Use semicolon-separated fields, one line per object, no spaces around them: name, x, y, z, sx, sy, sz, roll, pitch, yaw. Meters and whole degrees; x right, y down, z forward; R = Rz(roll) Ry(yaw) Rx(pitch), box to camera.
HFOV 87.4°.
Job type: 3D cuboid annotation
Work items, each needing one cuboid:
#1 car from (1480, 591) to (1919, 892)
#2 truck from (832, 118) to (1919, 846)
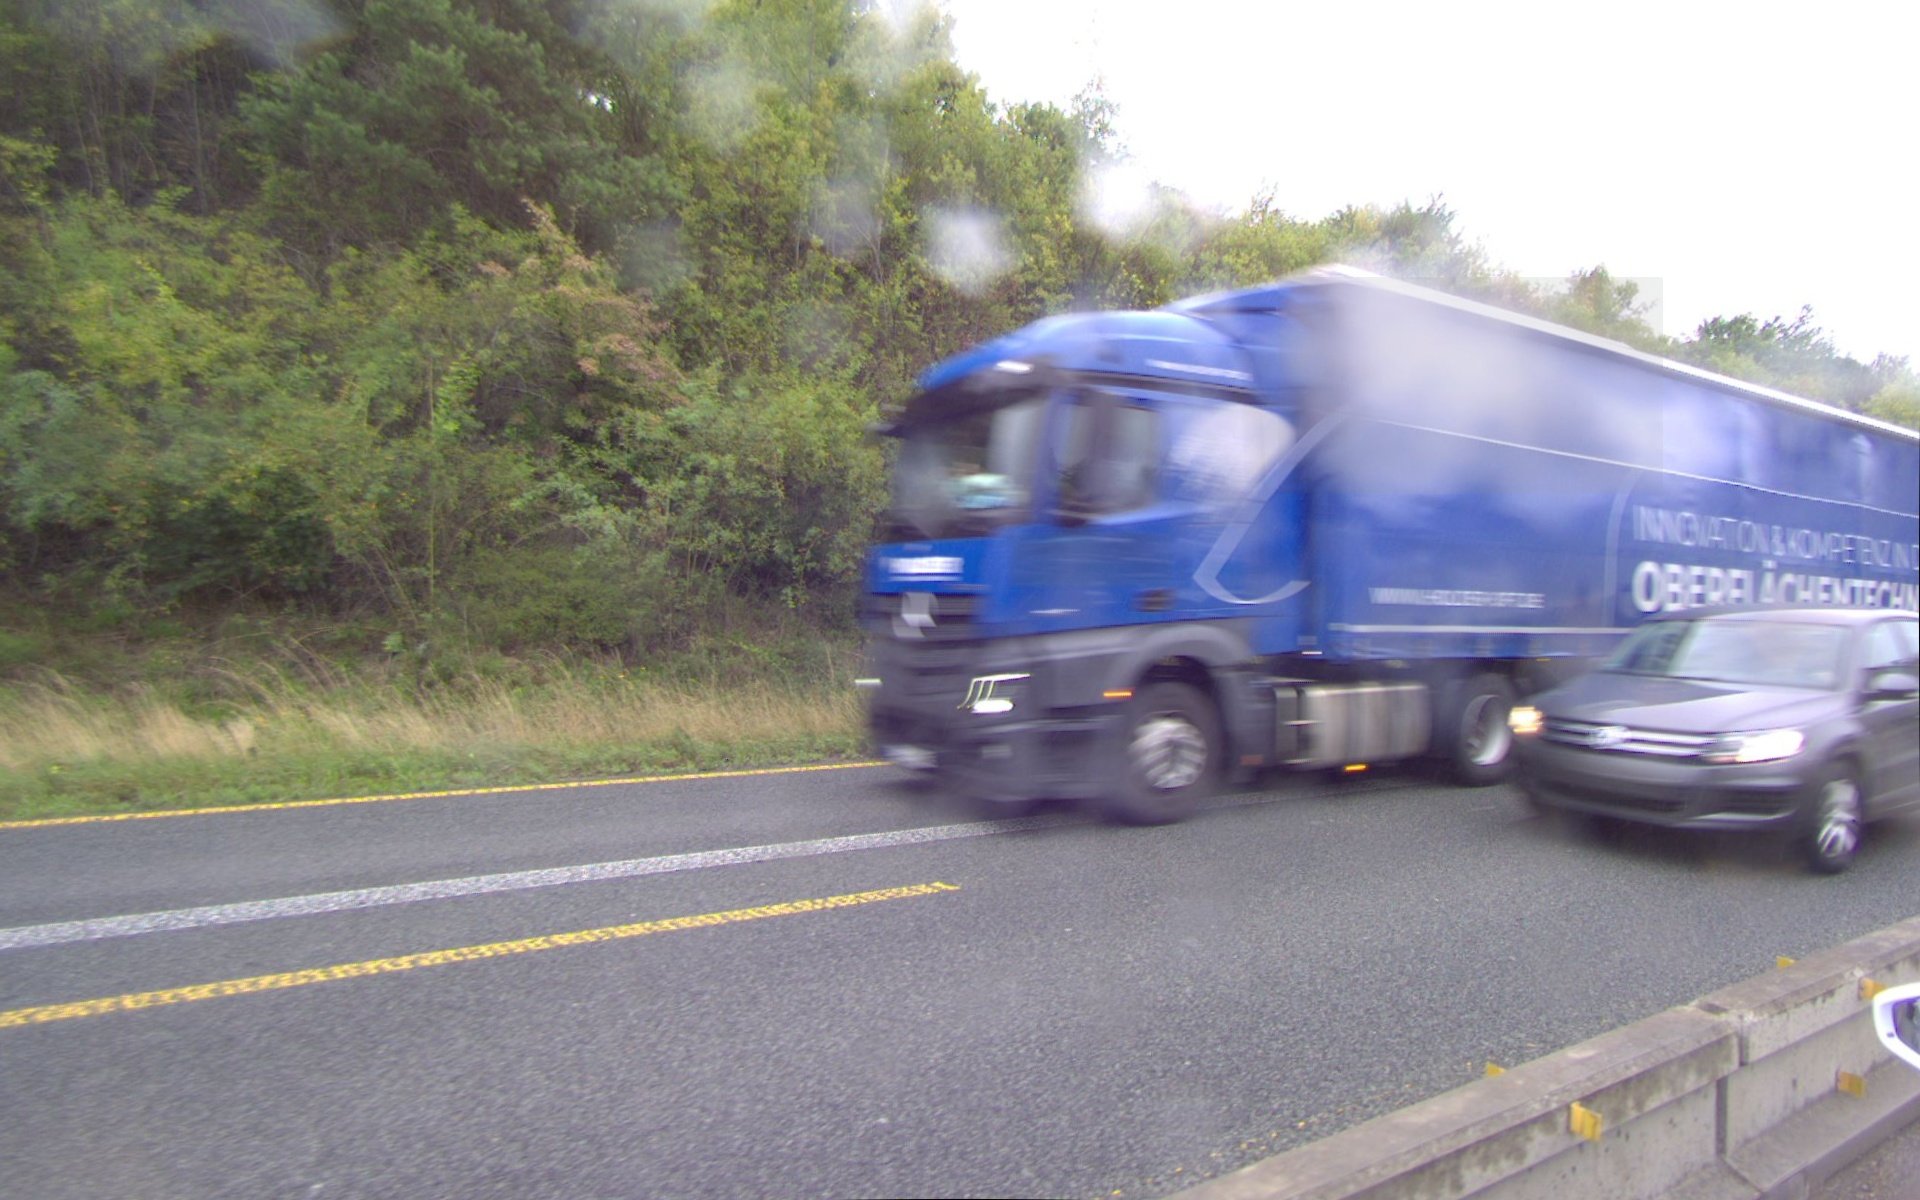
car;5.816;0.818;7.277;4.057;1.631;1.774;2;0;-31
truck;6.851;-0.452;11.306;16.734;4.178;2.752;2;0;-31
